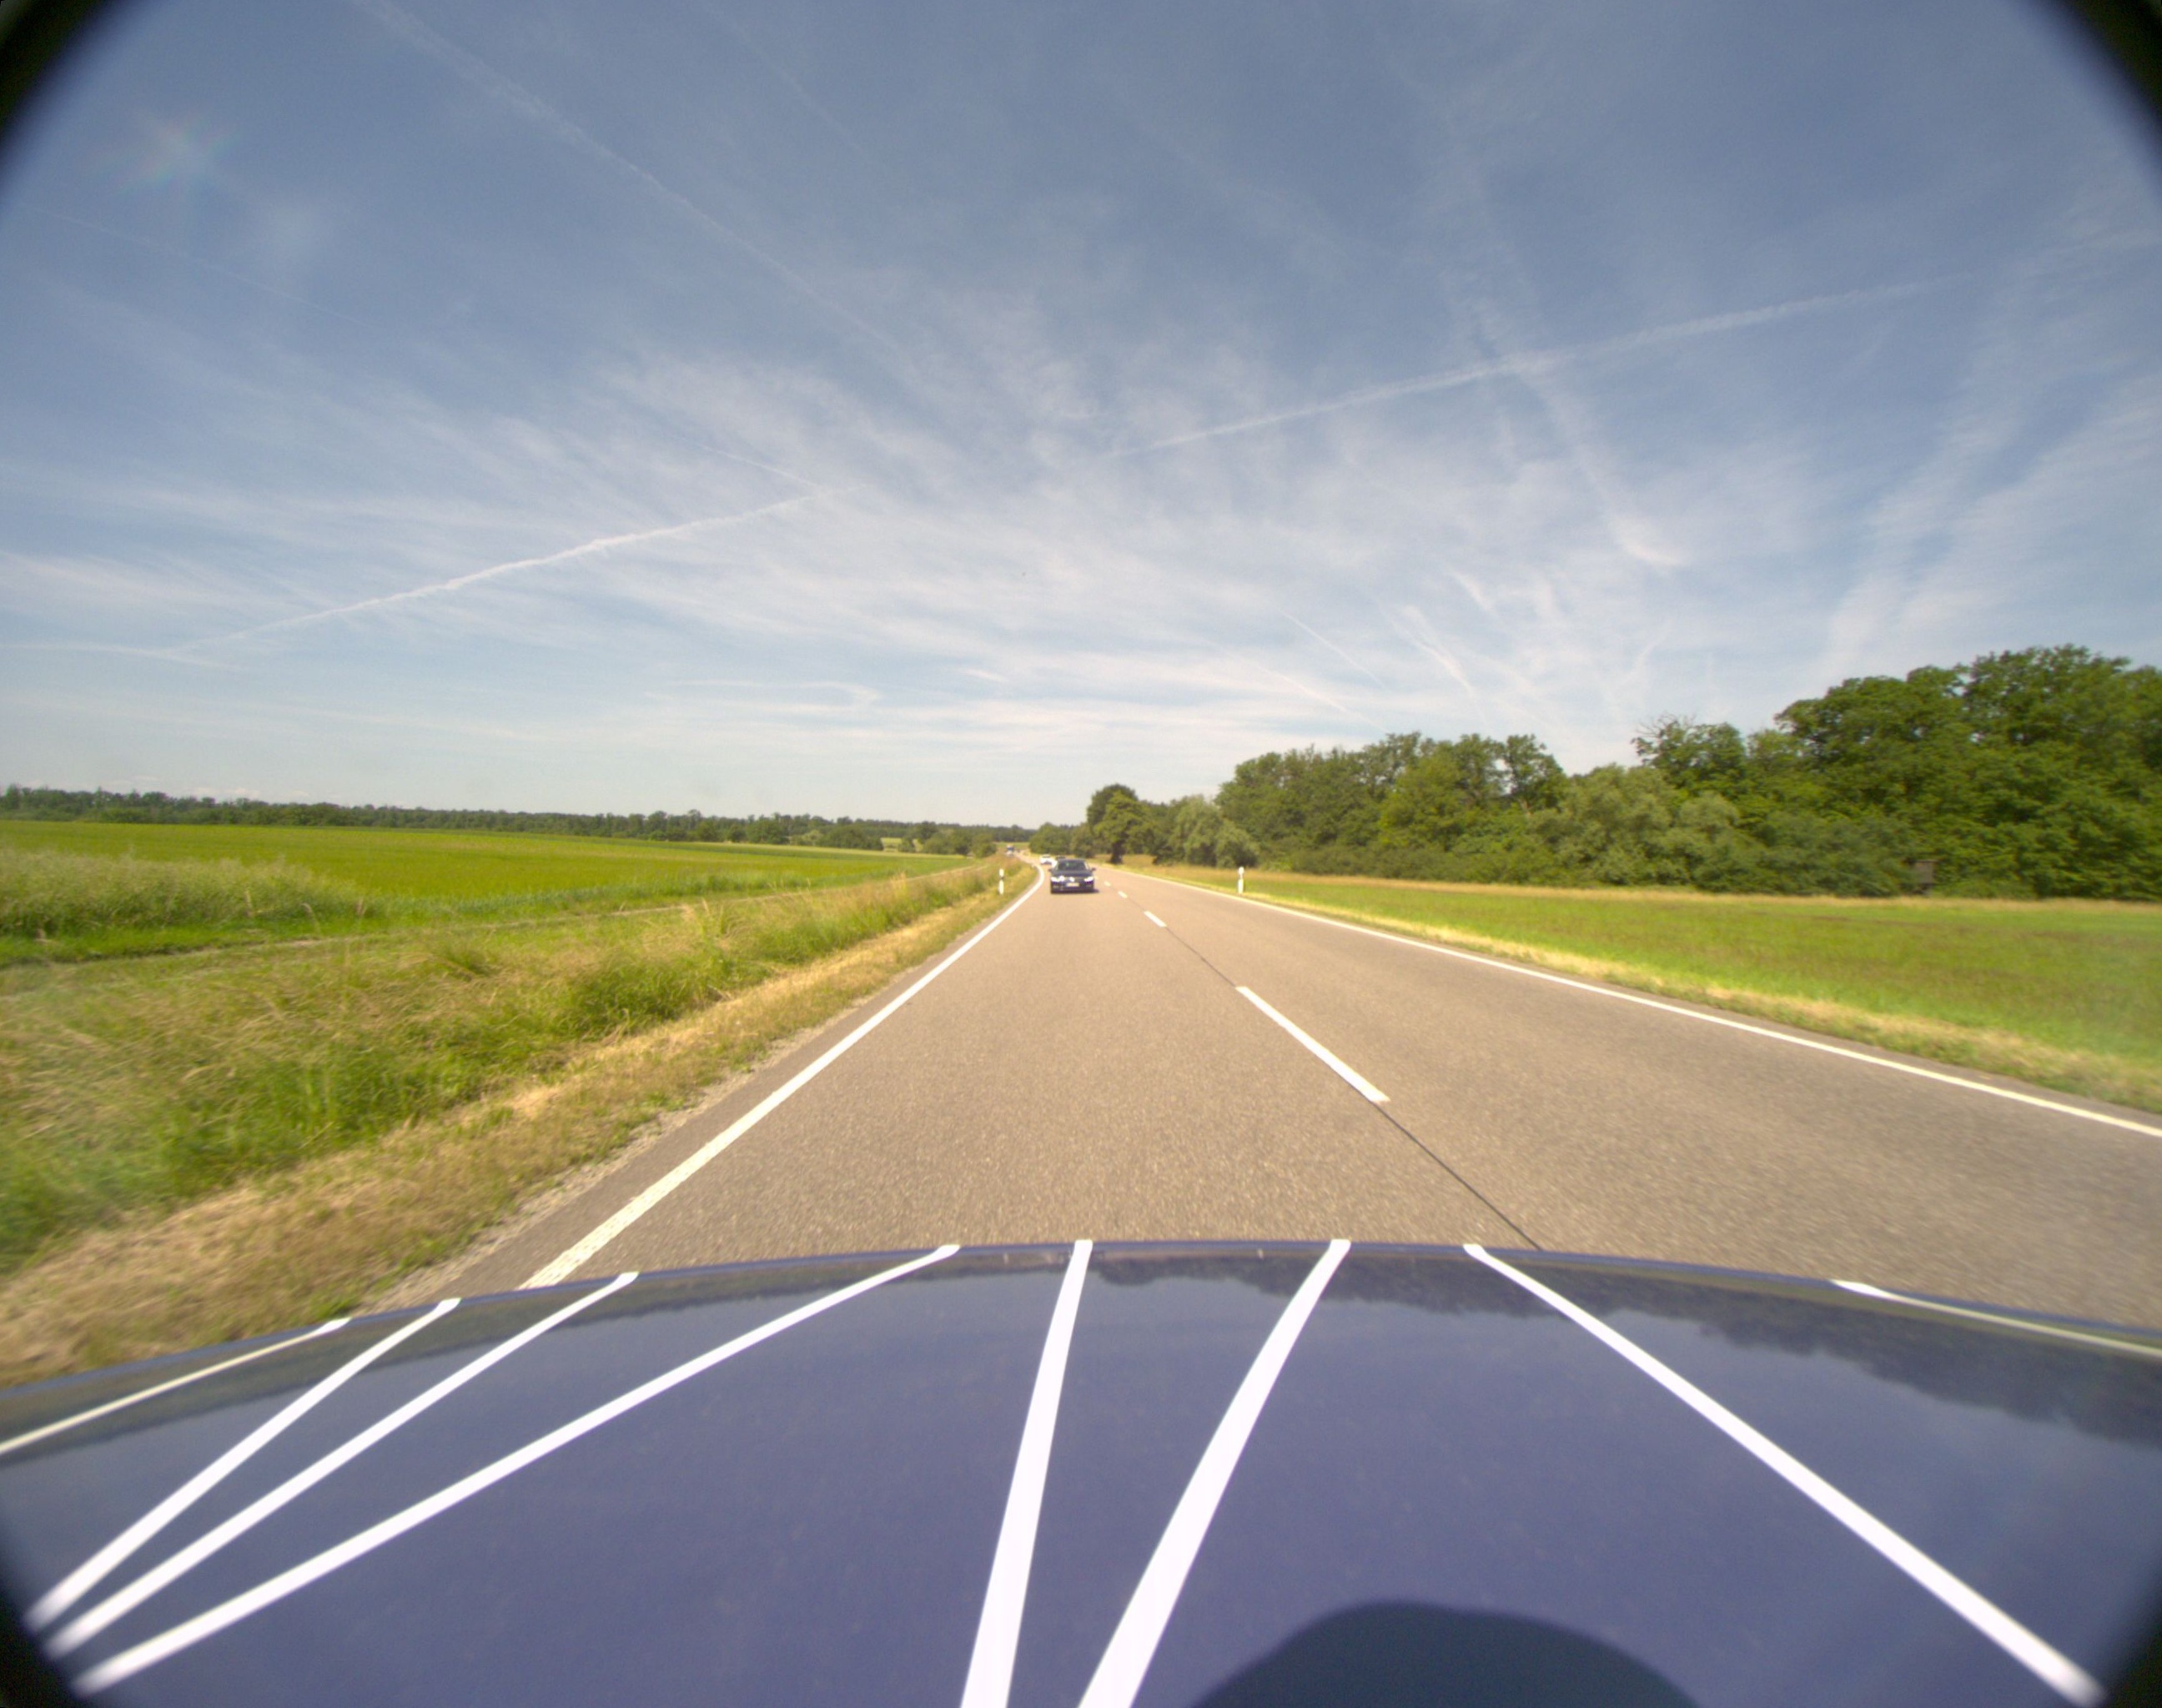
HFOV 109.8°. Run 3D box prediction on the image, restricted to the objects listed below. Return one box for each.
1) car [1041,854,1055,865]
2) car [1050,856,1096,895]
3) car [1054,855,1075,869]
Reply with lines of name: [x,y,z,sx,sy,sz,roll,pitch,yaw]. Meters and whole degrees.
car: [-4.945,0.831,113.980,1.929,1.501,4.289,-2,0,-5]
car: [-0.370,0.886,33.061,1.822,1.501,4.500,-2,0,-2]
car: [-1.773,0.807,80.655,1.929,1.501,4.289,0,0,-4]
